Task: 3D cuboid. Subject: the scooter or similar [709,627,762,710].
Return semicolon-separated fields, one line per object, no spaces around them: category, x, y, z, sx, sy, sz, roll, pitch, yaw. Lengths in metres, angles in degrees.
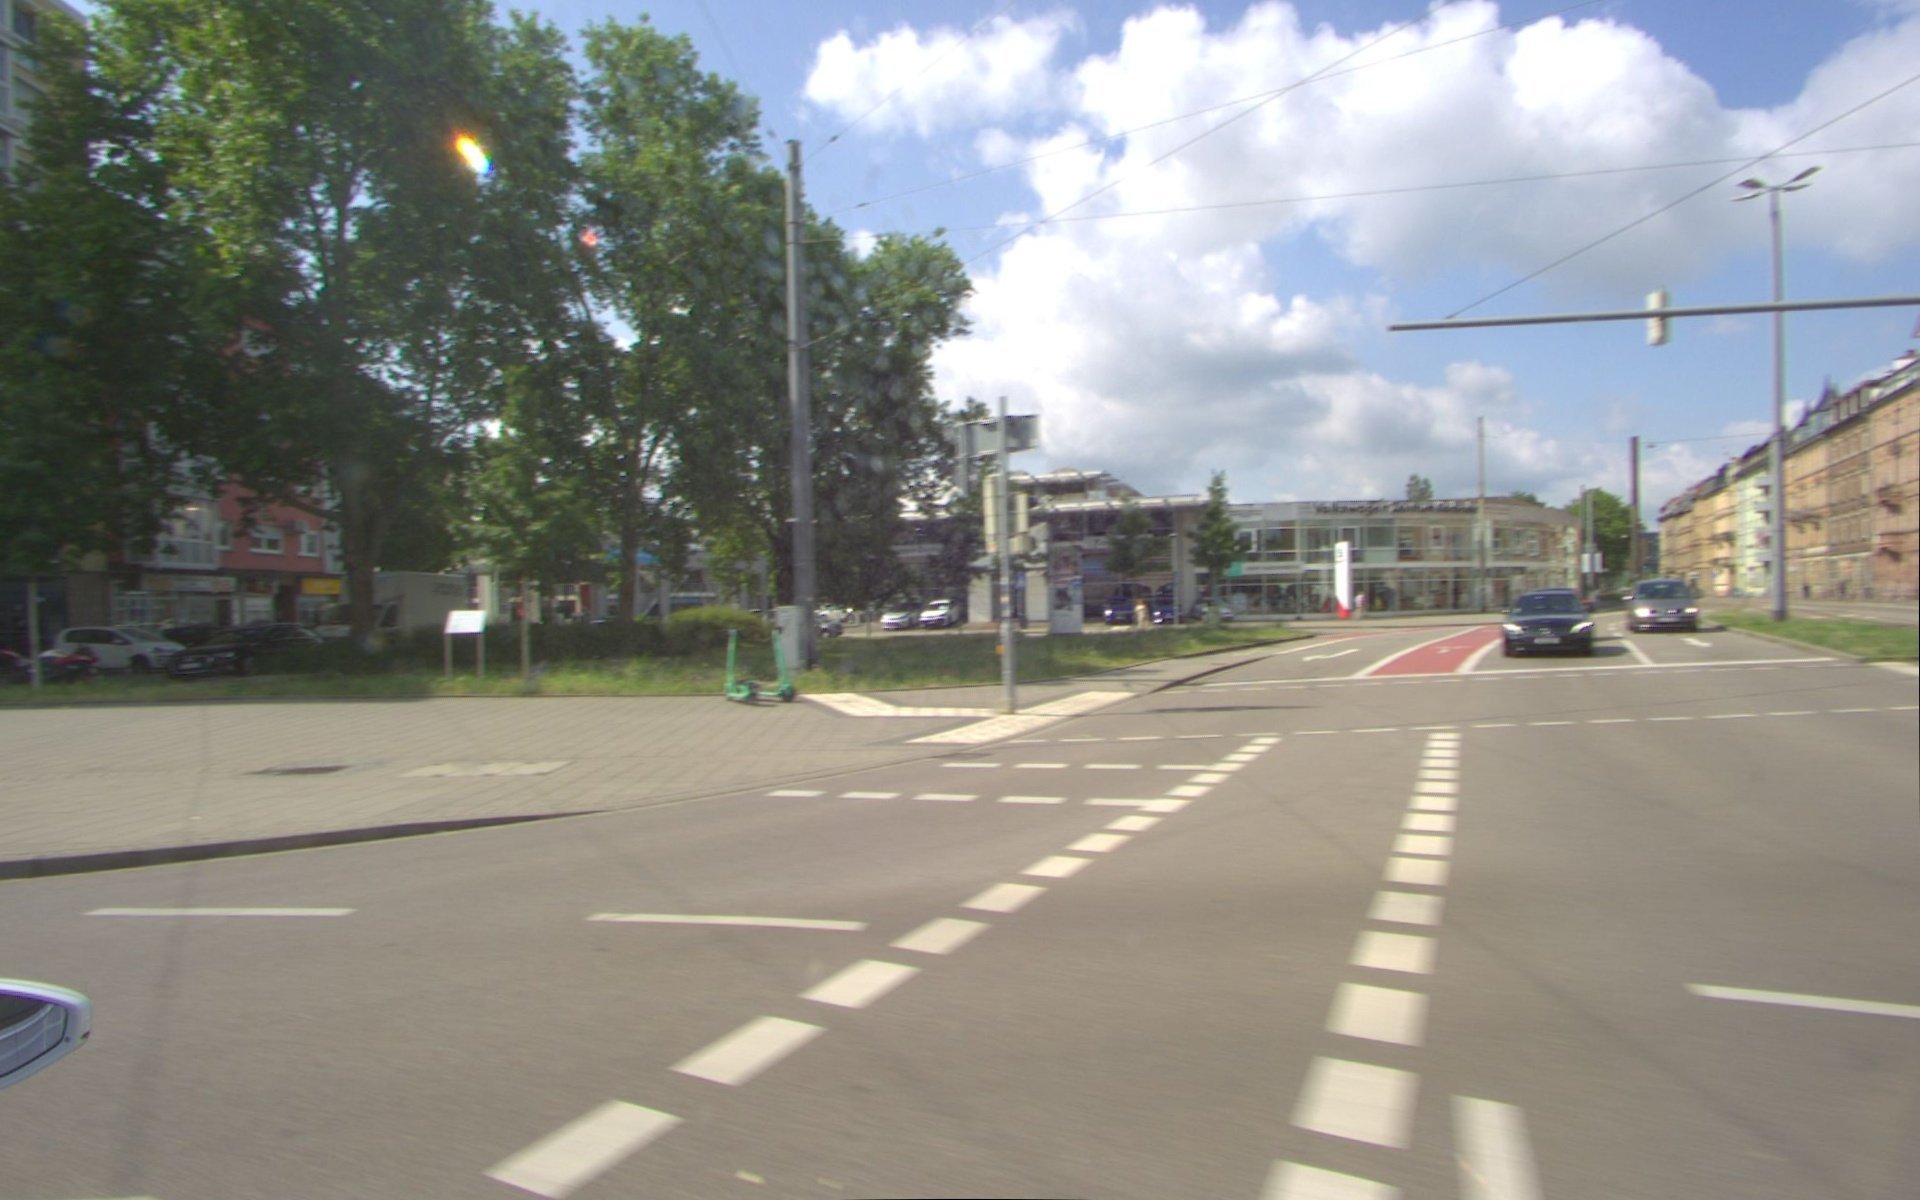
scooter or similar;-3.497;1.040;15.549;0.377;1.212;1.056;1;0;-38

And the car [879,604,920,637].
car;-3.913;1.334;65.469;1.961;2.040;4.000;2;0;6

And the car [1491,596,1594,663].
car;13.461;0.616;23.048;1.845;1.394;3.918;-1;0;33

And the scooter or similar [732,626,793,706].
scooter or similar;-3.149;1.035;15.923;1.052;1.212;0.378;1;0;42

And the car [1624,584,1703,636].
car;22.656;0.303;32.308;1.973;1.595;3.713;-1;0;35

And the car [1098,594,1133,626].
car;9.567;0.643;61.462;1.962;1.861;3.998;-2;-1;10

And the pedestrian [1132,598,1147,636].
pedestrian;9.843;0.926;54.988;0.794;2.040;0.808;1;0;10

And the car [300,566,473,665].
car;-19.851;0.529;35.199;1.961;3.083;7.249;-1;0;-1

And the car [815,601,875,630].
car;-8.491;1.156;73.929;3.930;2.040;1.996;1;0;20

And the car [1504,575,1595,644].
car;17.276;0.295;29.281;1.973;1.862;3.976;1;0;35

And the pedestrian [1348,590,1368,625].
pedestrian;23.352;0.429;58.746;0.855;2.040;0.703;-1;1;4

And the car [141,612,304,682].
car;-20.060;1.214;27.475;1.962;1.728;3.997;-1;0;-9

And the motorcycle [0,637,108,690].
motorcycle;-19.655;1.350;21.326;2.271;1.043;0.966;0;-2;-43

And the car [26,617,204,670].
car;-26.791;1.351;31.840;4.016;1.534;1.809;-1;0;-3

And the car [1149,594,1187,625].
car;12.460;0.564;60.133;1.962;1.748;3.999;1;0;9

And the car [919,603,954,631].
car;-1.498;1.096;65.363;1.756;1.704;3.999;-1;0;6

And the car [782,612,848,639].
car;-8.853;1.547;61.098;3.614;1.508;1.671;1;1;15

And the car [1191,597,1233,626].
car;15.363;0.698;61.258;1.897;1.705;4.000;1;0;6
